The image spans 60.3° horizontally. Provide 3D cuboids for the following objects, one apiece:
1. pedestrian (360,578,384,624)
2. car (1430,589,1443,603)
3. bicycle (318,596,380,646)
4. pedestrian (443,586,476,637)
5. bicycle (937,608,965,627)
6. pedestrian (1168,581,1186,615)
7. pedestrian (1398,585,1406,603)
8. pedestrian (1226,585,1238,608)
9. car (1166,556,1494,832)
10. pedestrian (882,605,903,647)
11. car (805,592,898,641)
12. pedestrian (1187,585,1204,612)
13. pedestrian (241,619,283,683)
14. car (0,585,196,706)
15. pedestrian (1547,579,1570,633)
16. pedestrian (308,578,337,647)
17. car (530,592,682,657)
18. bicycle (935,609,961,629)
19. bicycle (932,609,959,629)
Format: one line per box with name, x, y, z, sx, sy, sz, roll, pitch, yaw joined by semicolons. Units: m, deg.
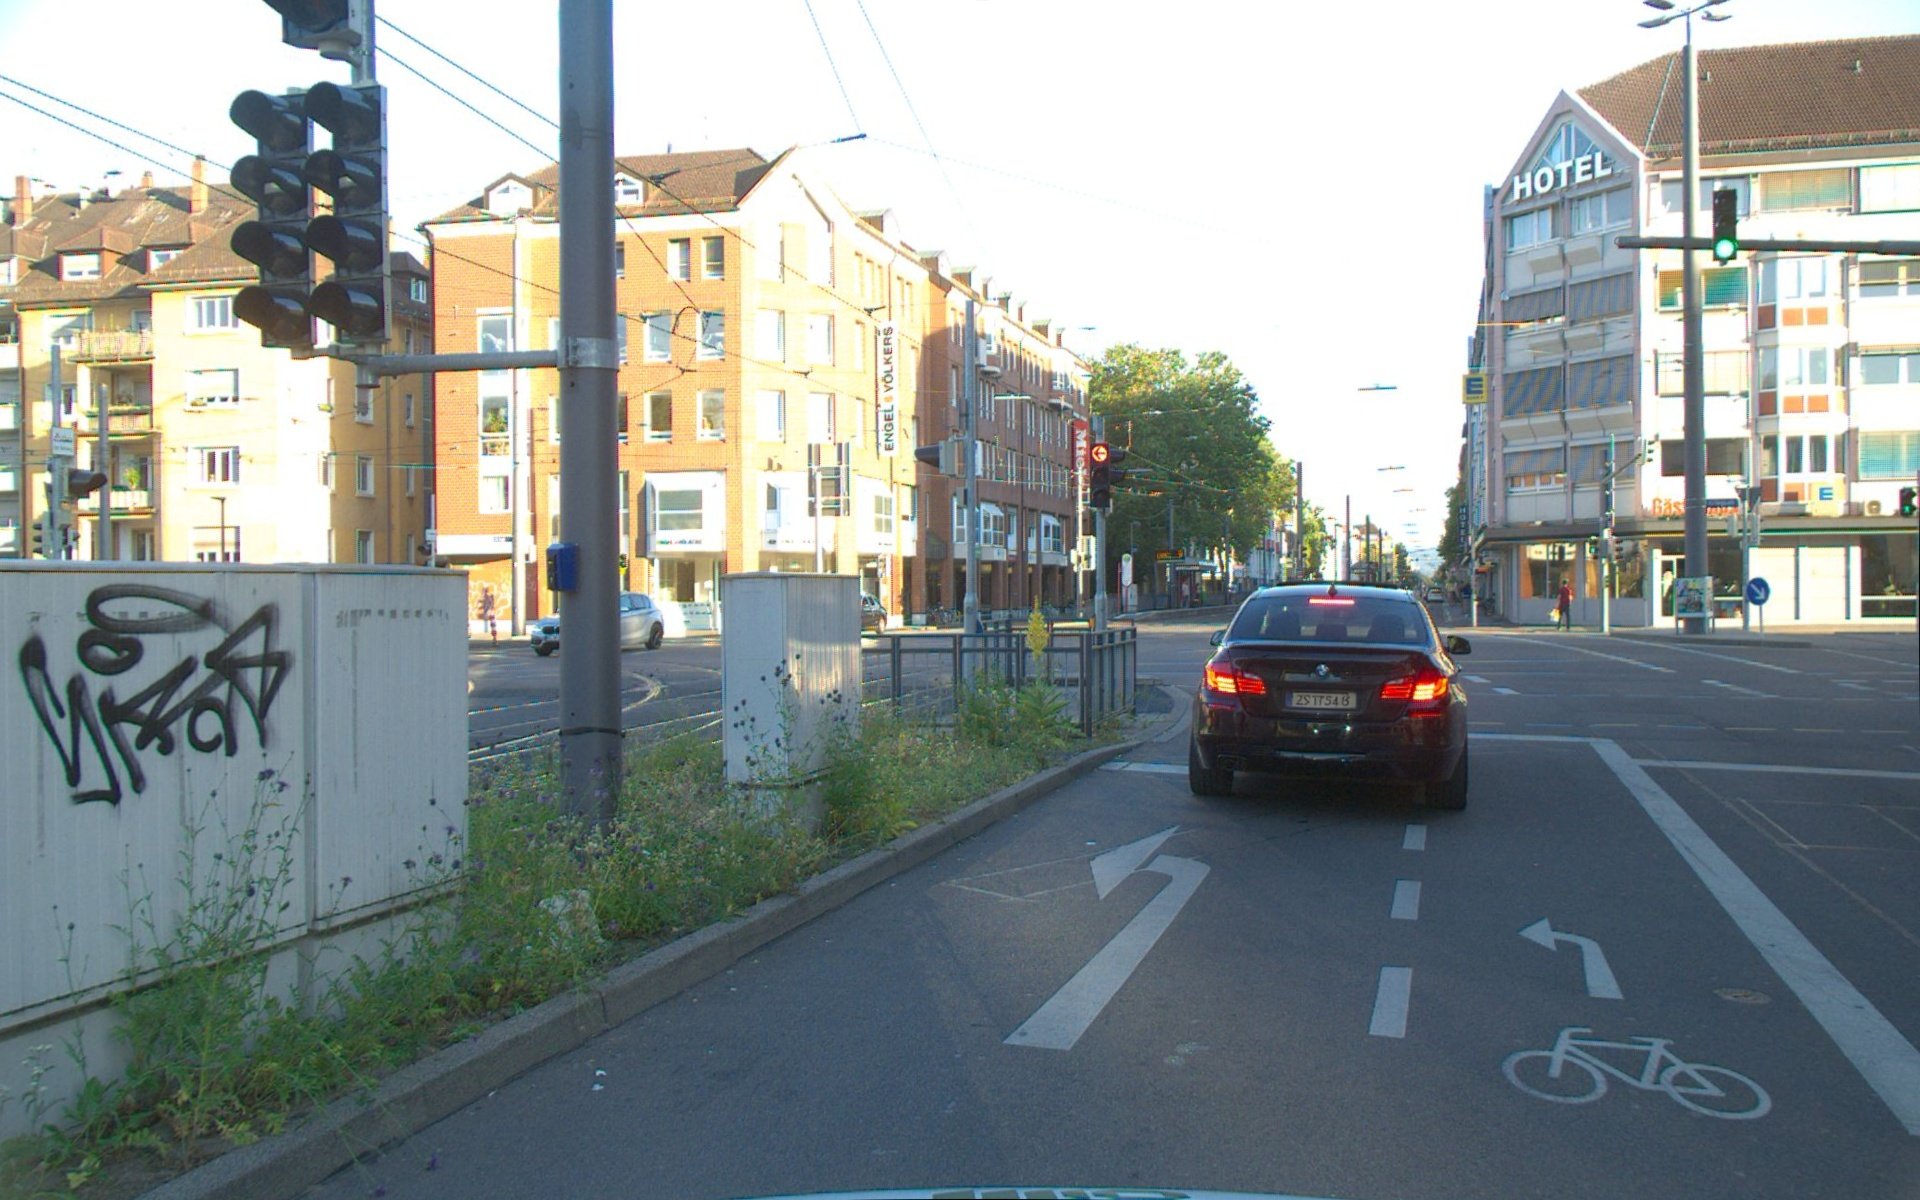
pedestrian;-24.528;0.048;69.031;0.789;1.900;0.663;1;1;-5
car;55.697;-0.503;193.285;1.441;1.541;3.098;-1;0;15
bicycle;-16.942;0.565;45.916;0.605;1.348;2.017;1;1;12
pedestrian;-19.282;0.440;63.738;0.920;1.900;0.839;1;1;7
bicycle;-0.447;0.898;83.569;1.383;0.938;0.444;1;1;0
pedestrian;13.223;-0.145;100.584;0.967;2.049;0.726;1;0;15
pedestrian;52.323;-0.718;195.734;0.895;2.049;0.887;-1;0;15
pedestrian;20.464;-0.295;124.344;0.708;1.710;0.991;-1;0;19
car;2.874;0.536;12.133;1.952;1.612;4.002;2;1;18
pedestrian;-3.098;1.188;75.685;0.623;1.900;0.674;2;1;43
car;-3.740;0.551;57.760;1.951;1.612;4.483;-1;0;14
pedestrian;15.023;-0.127;105.682;0.967;1.710;0.726;-1;0;15
pedestrian;-21.166;1.536;50.153;0.935;1.900;0.825;0;1;-43
car;-13.373;0.614;23.792;1.952;1.612;4.114;-1;0;21
pedestrian;21.216;0.223;58.624;0.670;1.886;0.671;-1;0;13
pedestrian;-17.573;0.336;45.613;0.491;1.900;0.563;1;1;11
car;-8.481;0.560;40.004;1.634;1.473;4.203;-1;0;20
bicycle;-0.600;0.939;82.086;1.259;0.938;0.349;1;1;0
bicycle;-0.729;0.944;81.525;1.258;0.938;0.350;1;1;13
